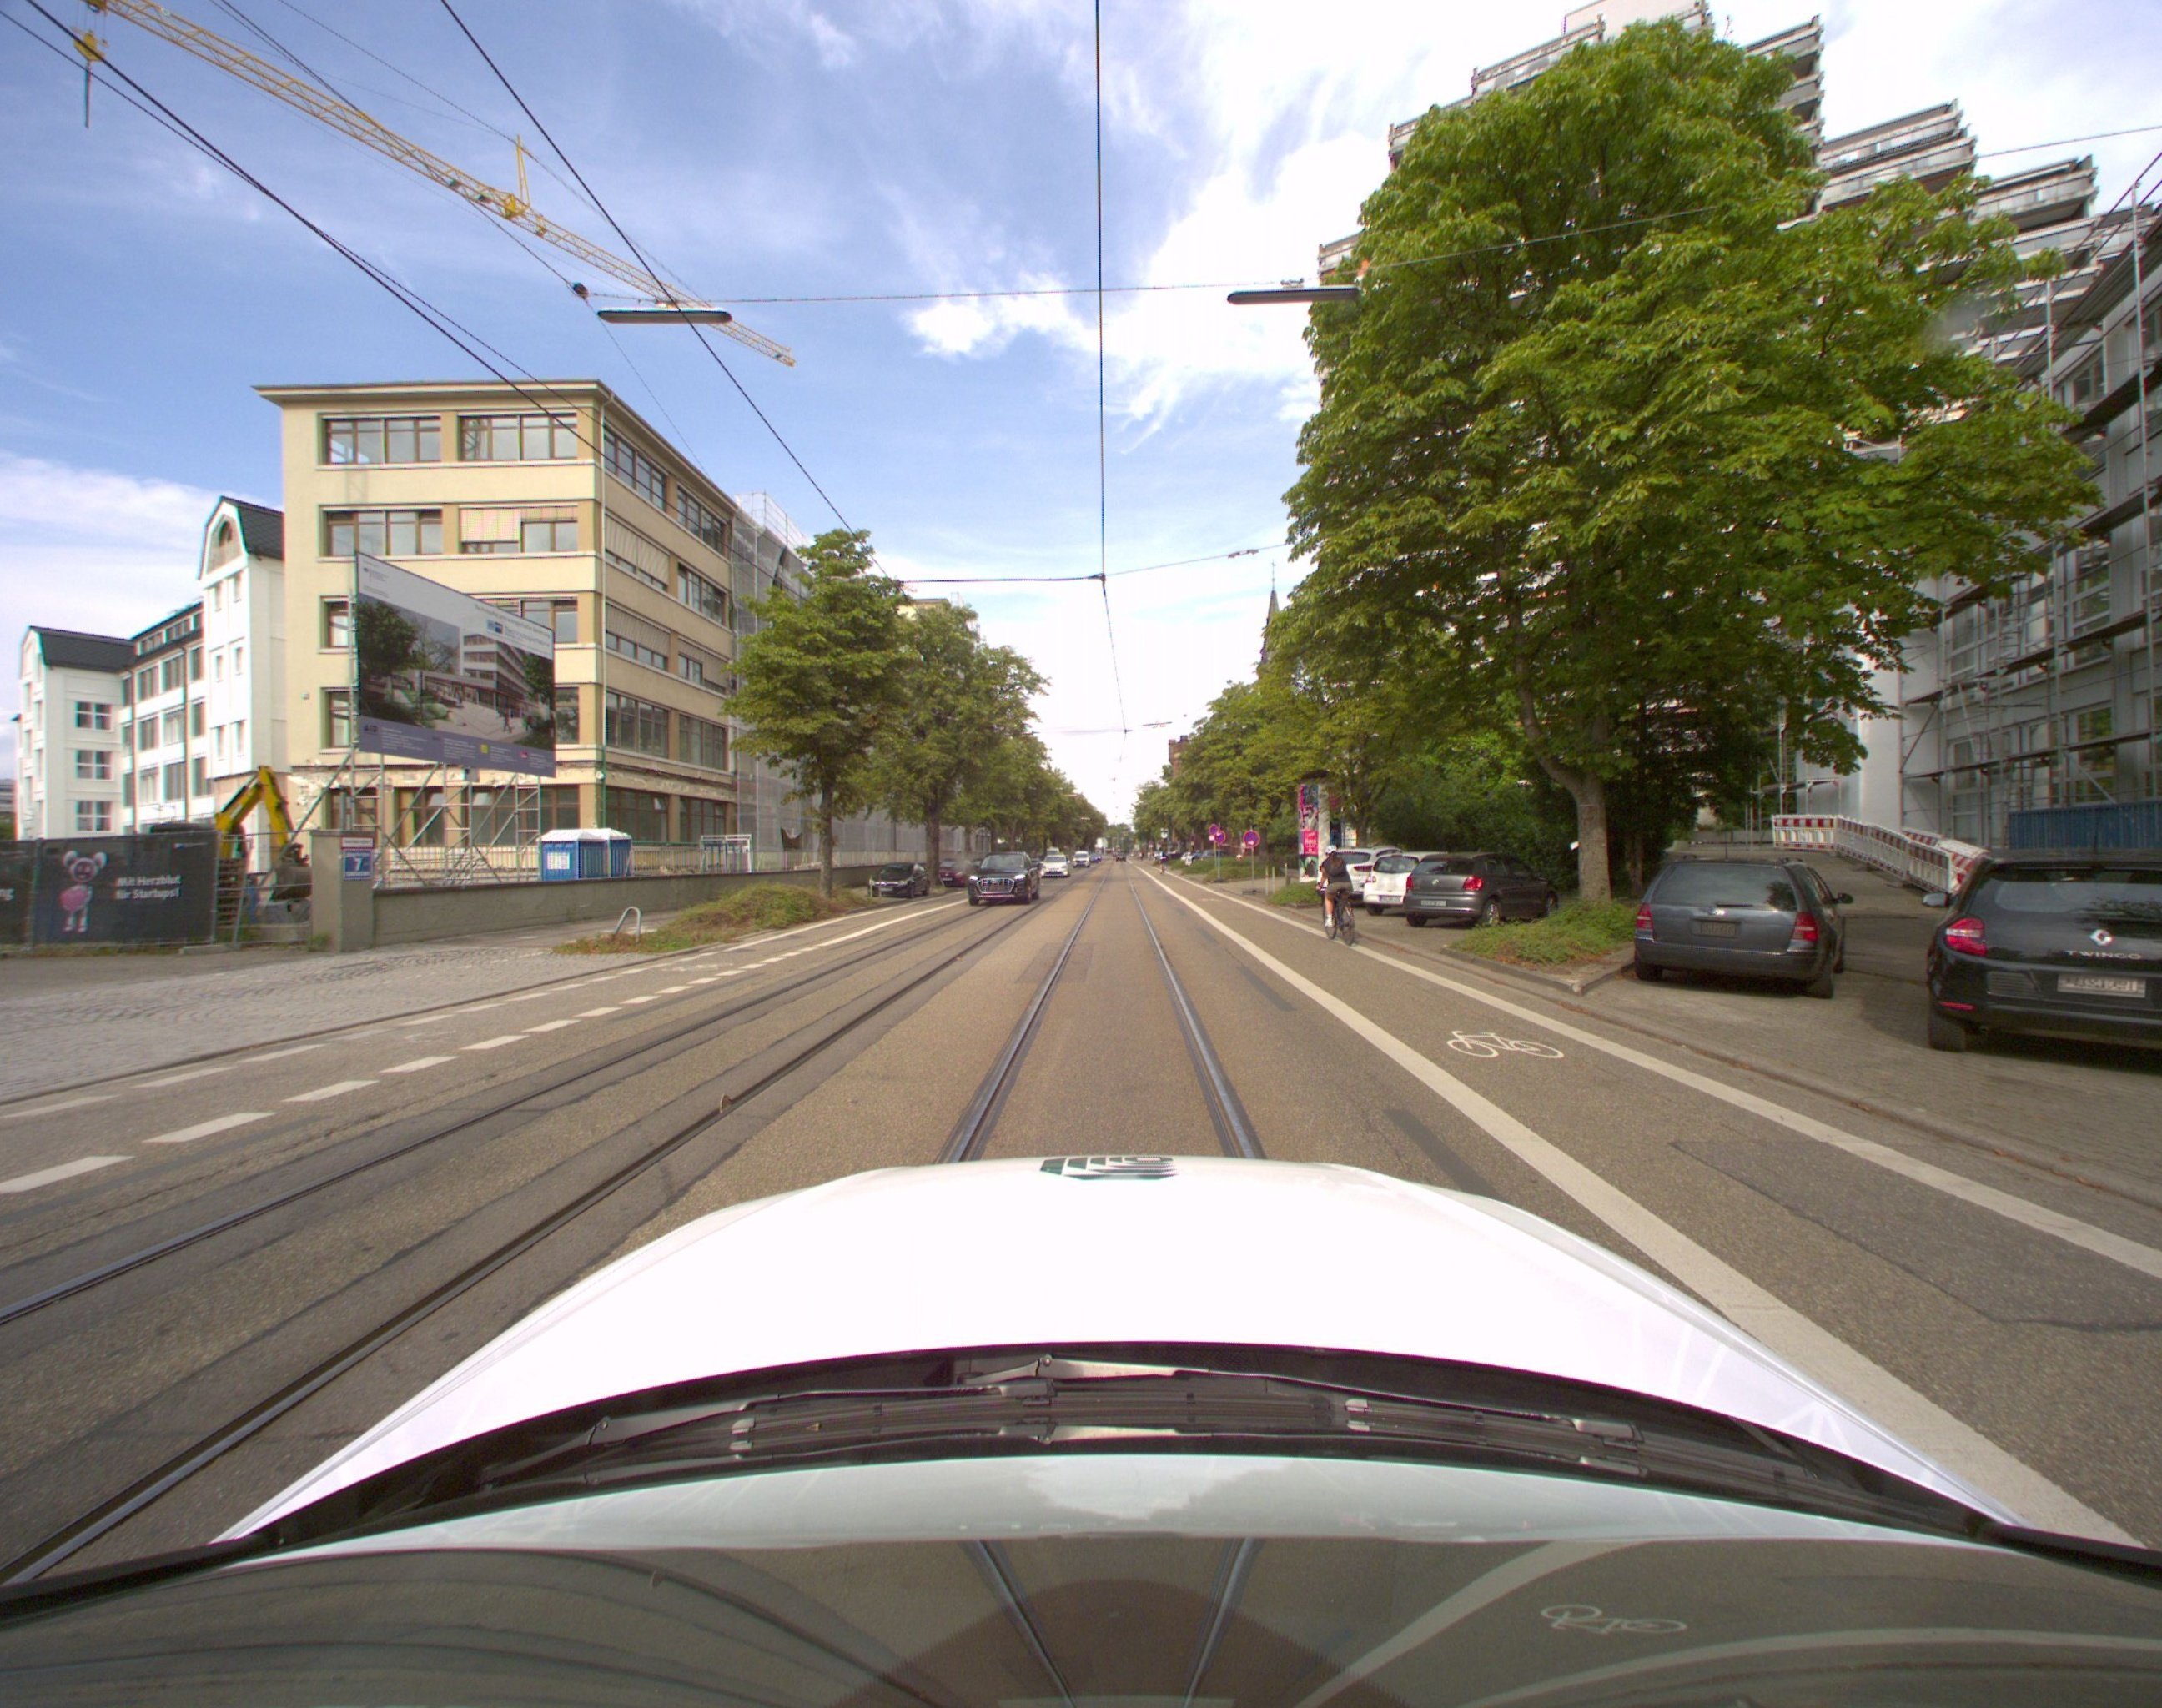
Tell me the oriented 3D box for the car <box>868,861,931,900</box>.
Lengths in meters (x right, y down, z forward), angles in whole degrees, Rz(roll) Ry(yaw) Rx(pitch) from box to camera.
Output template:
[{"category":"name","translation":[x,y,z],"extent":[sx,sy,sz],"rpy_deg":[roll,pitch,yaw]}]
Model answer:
[{"category":"car","translation":[-7.175,1.016,32.563],"extent":[1.585,1.402,3.962],"rpy_deg":[0,0,0]}]

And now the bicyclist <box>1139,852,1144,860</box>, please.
[{"category":"bicyclist","translation":[12.401,0.408,166.864],"extent":[0.841,1.504,0.771],"rpy_deg":[-1,0,11]}]

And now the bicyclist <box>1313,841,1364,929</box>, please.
[{"category":"bicyclist","translation":[4.389,0.514,13.933],"extent":[0.591,1.459,0.875],"rpy_deg":[-1,0,0]}]

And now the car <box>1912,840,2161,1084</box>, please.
[{"category":"car","translation":[7.882,0.665,6.486],"extent":[3.436,1.537,1.577],"rpy_deg":[-1,0,-41]}]

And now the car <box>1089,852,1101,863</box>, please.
[{"category":"car","translation":[2.225,0.525,125.450],"extent":[1.725,1.496,4.381],"rpy_deg":[-1,0,2]}]

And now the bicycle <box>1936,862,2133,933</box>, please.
[{"category":"bicycle","translation":[15.111,0.657,12.993],"extent":[1.952,1.043,0.598],"rpy_deg":[0,0,39]}]

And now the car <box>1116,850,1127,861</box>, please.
[{"category":"car","translation":[7.010,0.262,139.990],"extent":[1.788,1.824,4.680],"rpy_deg":[0,0,2]}]

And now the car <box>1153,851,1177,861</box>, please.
[{"category":"car","translation":[14.867,0.404,144.620],"extent":[3.978,1.693,1.998],"rpy_deg":[-1,0,-3]}]

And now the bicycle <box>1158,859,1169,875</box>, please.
[{"category":"bicycle","translation":[5.589,0.875,55.406],"extent":[0.661,1.043,1.842],"rpy_deg":[-1,0,3]}]

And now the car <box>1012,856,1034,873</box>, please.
[{"category":"car","translation":[-5.174,0.927,73.015],"extent":[1.585,1.402,3.962],"rpy_deg":[0,0,0]}]

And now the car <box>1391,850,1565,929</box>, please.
[{"category":"car","translation":[8.020,0.639,16.338],"extent":[3.663,1.419,1.663],"rpy_deg":[0,-1,-37]}]

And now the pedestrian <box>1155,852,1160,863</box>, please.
[{"category":"pedestrian","translation":[13.623,0.626,144.346],"extent":[0.741,1.790,0.734],"rpy_deg":[-1,-1,17]}]

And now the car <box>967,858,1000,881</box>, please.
[{"category":"car","translation":[-6.237,0.952,52.415],"extent":[1.585,1.402,3.962],"rpy_deg":[0,0,0]}]

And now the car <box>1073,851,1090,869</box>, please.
[{"category":"car","translation":[0.095,0.645,88.183],"extent":[1.726,1.884,4.378],"rpy_deg":[-1,0,1]}]

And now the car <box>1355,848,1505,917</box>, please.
[{"category":"car","translation":[8.290,0.623,19.261],"extent":[3.663,1.474,1.663],"rpy_deg":[0,-1,-37]}]

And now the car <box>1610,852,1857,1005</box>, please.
[{"category":"car","translation":[7.877,0.701,9.674],"extent":[4.194,1.415,1.794],"rpy_deg":[0,-1,-45]}]

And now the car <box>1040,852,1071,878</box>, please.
[{"category":"car","translation":[-1.638,0.675,53.911],"extent":[1.725,1.612,4.337],"rpy_deg":[-1,0,2]}]

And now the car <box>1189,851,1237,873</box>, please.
[{"category":"car","translation":[9.997,0.598,61.511],"extent":[3.667,1.602,1.661],"rpy_deg":[0,-1,-43]}]

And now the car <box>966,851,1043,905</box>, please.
[{"category":"car","translation":[-2.372,0.712,26.428],"extent":[1.840,1.612,4.338],"rpy_deg":[0,0,3]}]

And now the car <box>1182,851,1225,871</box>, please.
[{"category":"car","translation":[10.318,0.600,68.306],"extent":[3.667,1.602,1.661],"rpy_deg":[0,-1,-43]}]

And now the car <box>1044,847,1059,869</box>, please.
[{"category":"car","translation":[-3.834,0.514,106.771],"extent":[1.715,2.704,5.470],"rpy_deg":[0,0,0]}]

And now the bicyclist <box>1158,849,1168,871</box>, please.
[{"category":"bicyclist","translation":[5.587,0.391,55.385],"extent":[0.656,1.496,0.930],"rpy_deg":[-1,0,3]}]

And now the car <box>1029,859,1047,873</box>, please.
[{"category":"car","translation":[-4.374,1.197,83.221],"extent":[1.585,1.402,3.962],"rpy_deg":[0,0,0]}]

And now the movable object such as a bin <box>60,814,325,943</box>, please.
[{"category":"movable object such as a bin","translation":[-18.357,0.488,16.960],"extent":[3.030,2.443,2.506],"rpy_deg":[-1,-1,12]}]

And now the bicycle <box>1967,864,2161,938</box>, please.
[{"category":"bicycle","translation":[14.745,0.673,12.158],"extent":[1.952,1.043,0.598],"rpy_deg":[0,0,30]}]

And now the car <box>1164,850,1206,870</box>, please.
[{"category":"car","translation":[9.007,0.512,70.488],"extent":[3.667,1.602,1.661],"rpy_deg":[0,-1,-43]}]

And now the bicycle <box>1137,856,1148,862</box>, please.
[{"category":"bicycle","translation":[12.559,0.956,166.845],"extent":[2.260,1.189,0.771],"rpy_deg":[0,0,10]}]

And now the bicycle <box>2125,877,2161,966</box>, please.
[{"category":"bicycle","translation":[13.610,0.787,9.420],"extent":[1.817,1.043,0.456],"rpy_deg":[-2,-1,31]}]

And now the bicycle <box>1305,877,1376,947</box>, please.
[{"category":"bicycle","translation":[4.389,0.954,13.919],"extent":[0.591,1.043,1.978],"rpy_deg":[-1,0,0]}]

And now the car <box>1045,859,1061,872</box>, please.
[{"category":"car","translation":[-3.172,1.273,93.392],"extent":[1.585,1.402,3.962],"rpy_deg":[0,0,0]}]

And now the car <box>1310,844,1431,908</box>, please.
[{"category":"car","translation":[8.047,0.561,22.486],"extent":[3.667,1.602,1.661],"rpy_deg":[0,-1,-43]}]

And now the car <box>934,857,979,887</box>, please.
[{"category":"car","translation":[-6.554,0.943,43.215],"extent":[1.629,1.496,3.964],"rpy_deg":[0,0,2]}]
